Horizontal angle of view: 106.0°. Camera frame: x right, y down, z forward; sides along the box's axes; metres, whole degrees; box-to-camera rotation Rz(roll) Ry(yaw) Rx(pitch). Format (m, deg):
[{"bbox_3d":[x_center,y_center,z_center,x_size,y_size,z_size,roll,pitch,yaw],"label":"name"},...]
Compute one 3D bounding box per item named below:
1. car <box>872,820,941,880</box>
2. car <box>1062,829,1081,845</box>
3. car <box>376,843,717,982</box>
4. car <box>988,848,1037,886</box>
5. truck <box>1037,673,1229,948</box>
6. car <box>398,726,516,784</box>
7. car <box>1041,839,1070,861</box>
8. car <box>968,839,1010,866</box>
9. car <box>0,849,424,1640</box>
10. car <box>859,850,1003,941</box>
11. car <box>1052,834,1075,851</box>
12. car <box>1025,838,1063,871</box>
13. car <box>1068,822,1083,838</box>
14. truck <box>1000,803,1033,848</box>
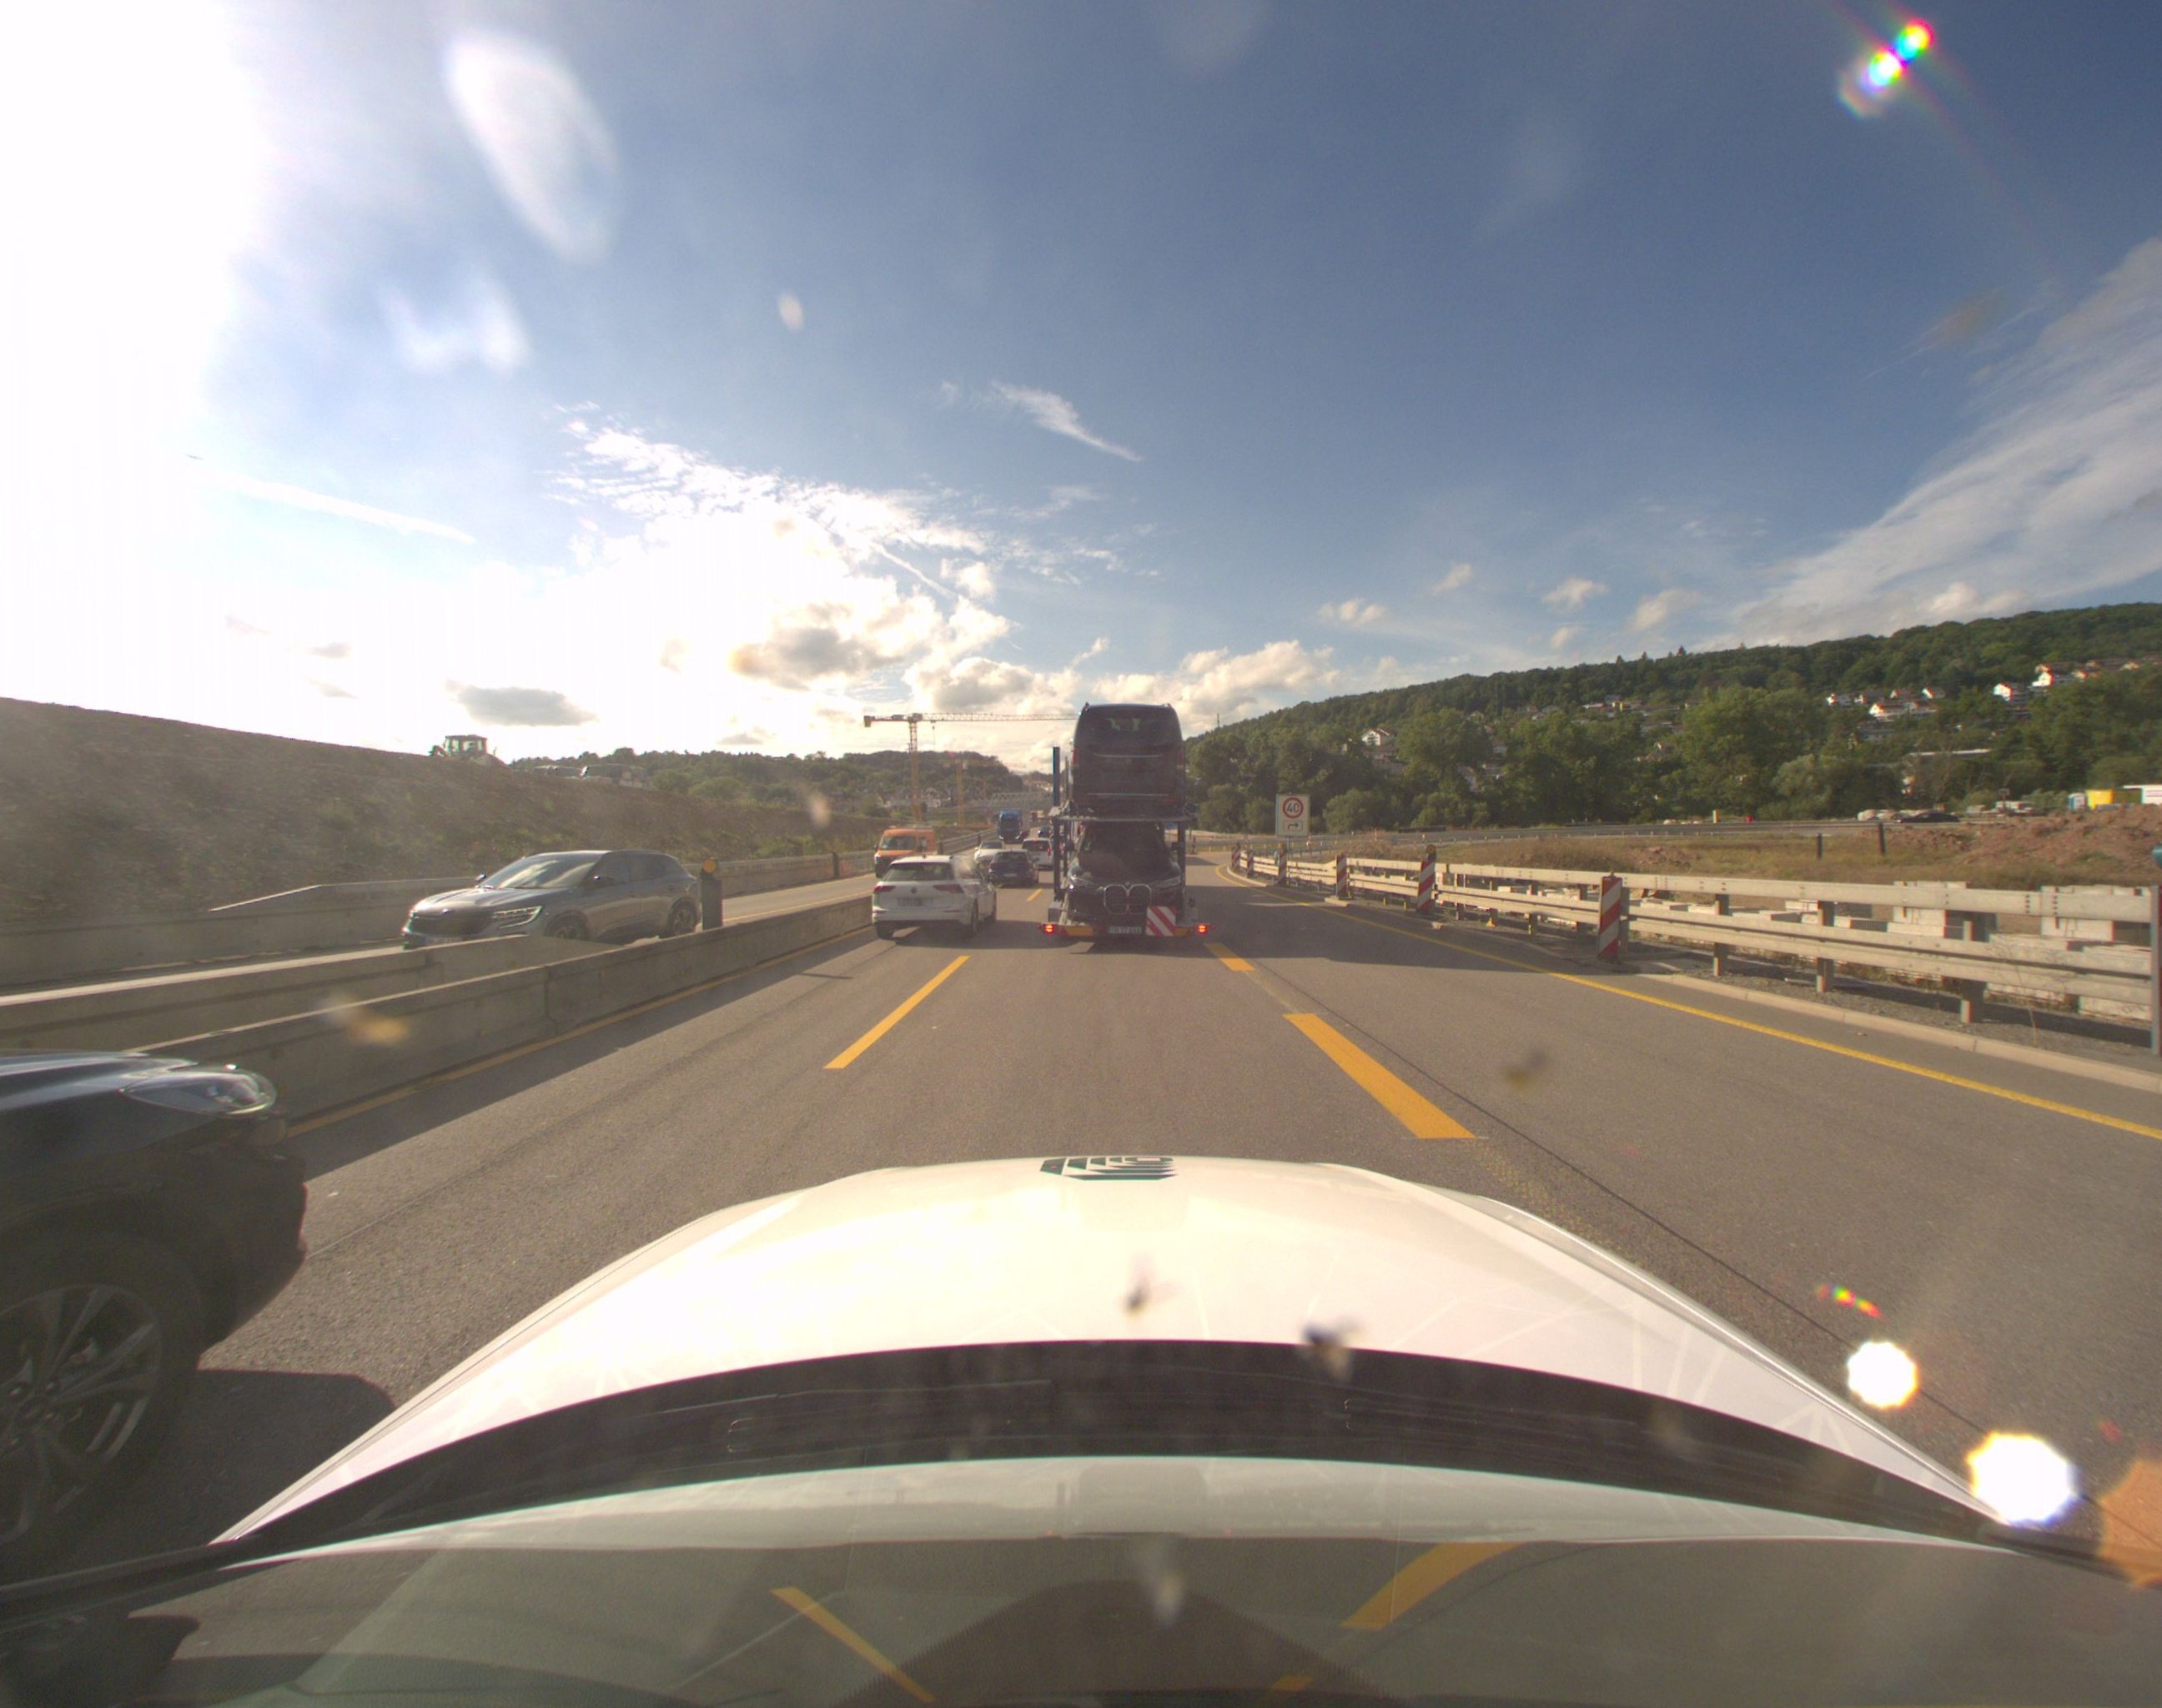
[{"bbox_3d":[-8.924,-0.213,42.238,1.986,2.879,6.068,0,0,2],"label":"car"},{"bbox_3d":[-1.087,-1.953,94.540,1.986,1.666,4.000,0,-2,1],"label":"car"},{"bbox_3d":[-7.398,0.710,11.912,1.835,1.648,4.244,0,0,7],"label":"car"},{"bbox_3d":[-2.631,0.491,32.066,1.718,1.422,3.996,0,0,-2],"label":"car"},{"bbox_3d":[0.878,-0.639,21.261,2.744,3.954,18.890,1,0,1],"label":"truck"},{"bbox_3d":[-33.160,-5.194,43.538,1.987,2.140,5.321,-5,-2,1],"label":"car"},{"bbox_3d":[-1.865,-0.256,61.902,1.987,1.556,4.401,0,-2,1],"label":"car"},{"bbox_3d":[-5.899,-0.101,52.615,1.984,1.684,4.005,0,0,4],"label":"car"},{"bbox_3d":[-3.048,0.760,0.401,1.793,1.542,4.386,-1,-1,2],"label":"car"},{"bbox_3d":[-2.679,0.695,15.635,1.763,1.491,4.519,0,0,2],"label":"car"},{"bbox_3d":[-1.615,-1.095,76.781,1.986,1.552,4.003,0,1,2],"label":"car"},{"bbox_3d":[-2.100,0.058,46.884,1.815,1.792,4.002,0,-2,3],"label":"car"},{"bbox_3d":[-0.827,-3.371,116.055,1.986,2.014,4.001,0,-2,2],"label":"car"},{"bbox_3d":[-7.940,-3.410,101.349,2.812,4.789,13.054,0,-2,1],"label":"truck"}]
